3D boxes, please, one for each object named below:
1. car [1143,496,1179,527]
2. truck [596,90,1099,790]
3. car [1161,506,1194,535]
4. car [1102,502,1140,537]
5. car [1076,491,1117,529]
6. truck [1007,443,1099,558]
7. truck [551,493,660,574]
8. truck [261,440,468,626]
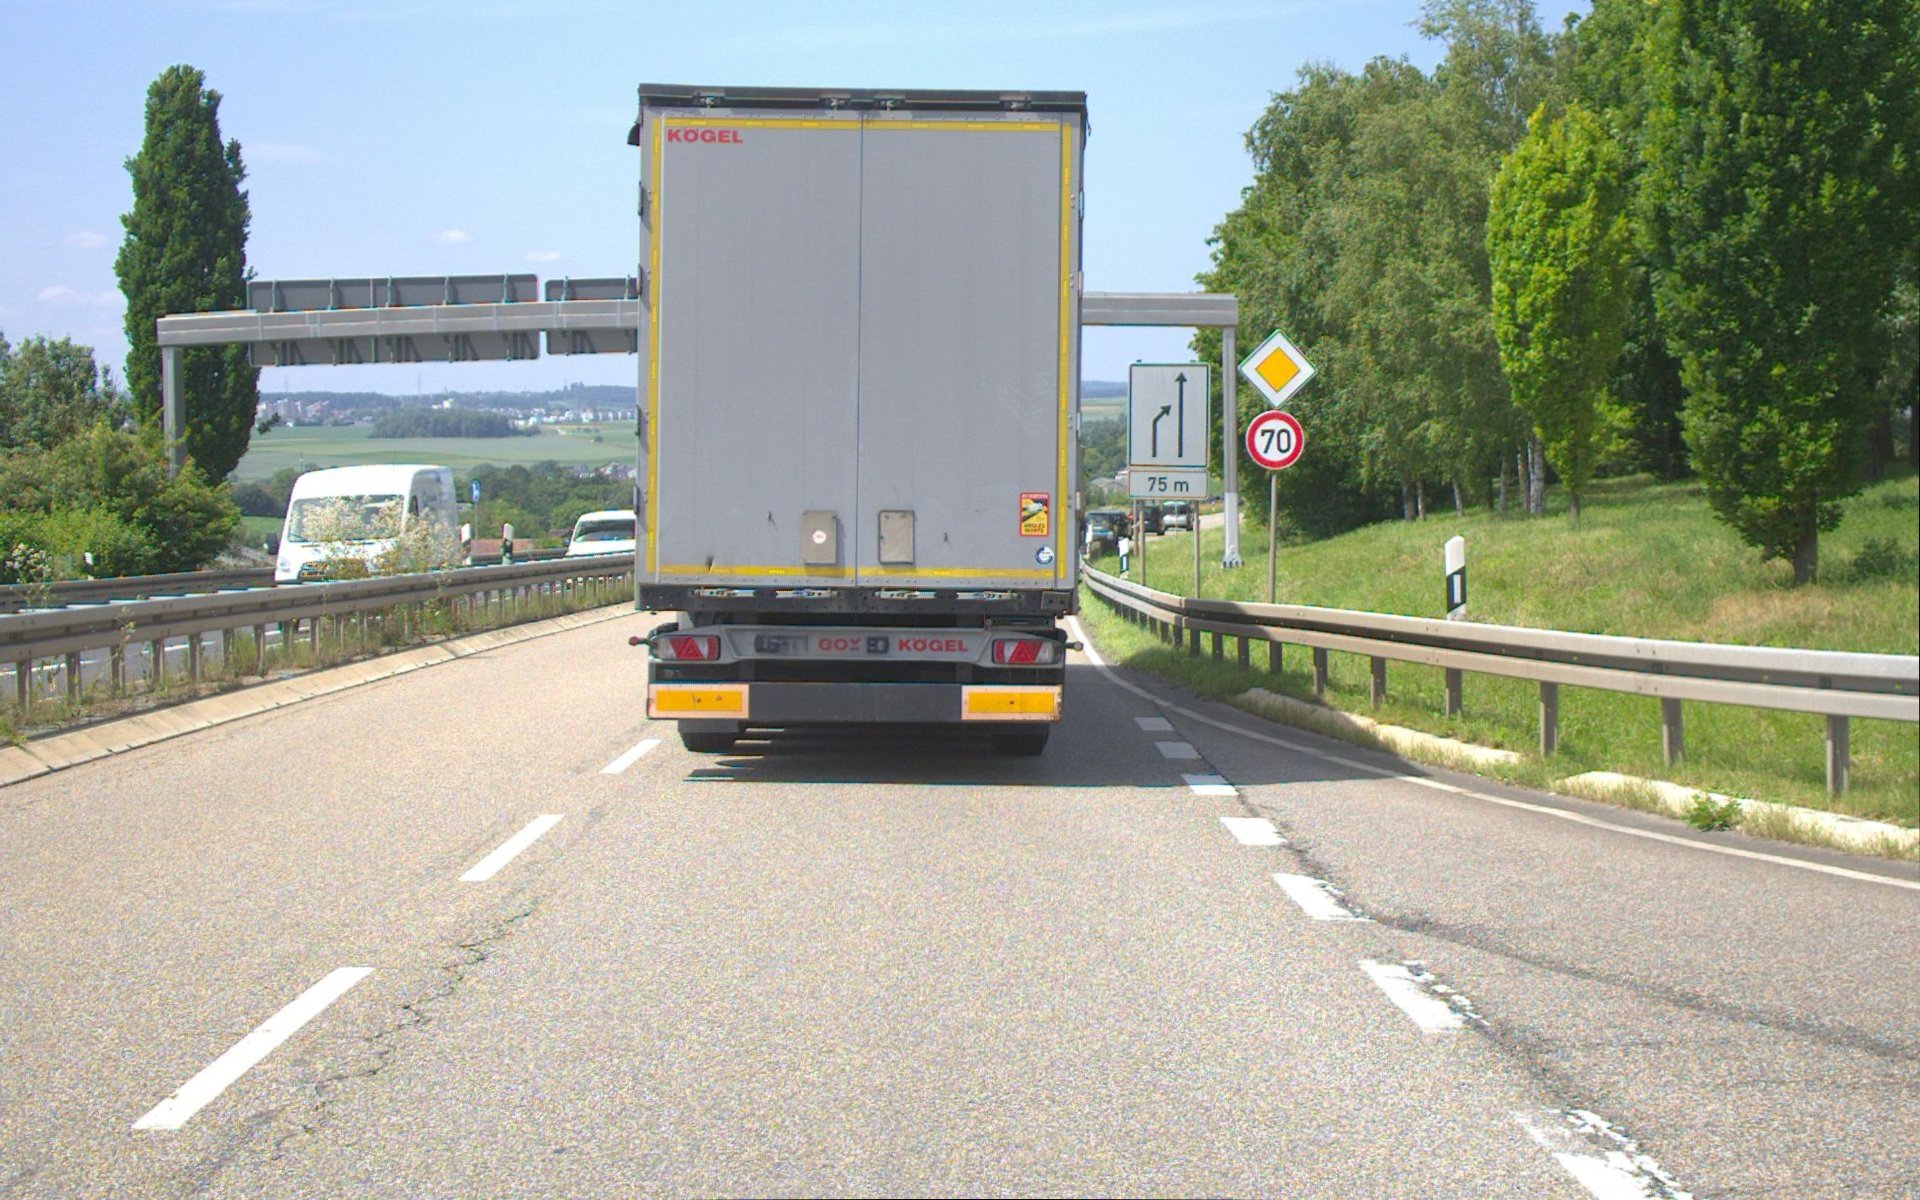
[{"bbox_3d":[11.016,-4.850,188.759,1.786,1.682,4.000,0,1,1],"label":"car"},{"bbox_3d":[-0.740,-1.045,25.028,2.799,3.916,11.343,1,1,-1],"label":"truck"},{"bbox_3d":[13.170,-4.793,208.325,1.786,1.682,4.000,0,1,1],"label":"car"},{"bbox_3d":[7.979,-3.986,170.770,1.786,1.682,4.000,0,1,1],"label":"car"},{"bbox_3d":[6.248,-4.099,157.322,1.786,1.682,4.000,0,1,1],"label":"car"},{"bbox_3d":[3.264,-3.342,118.342,2.656,3.751,10.160,1,1,4],"label":"truck"},{"bbox_3d":[-8.144,-1.515,79.360,1.849,1.743,4.537,-3,1,2],"label":"truck"},{"bbox_3d":[-9.076,-1.050,52.949,2.040,2.612,6.020,-3,1,0],"label":"truck"}]
